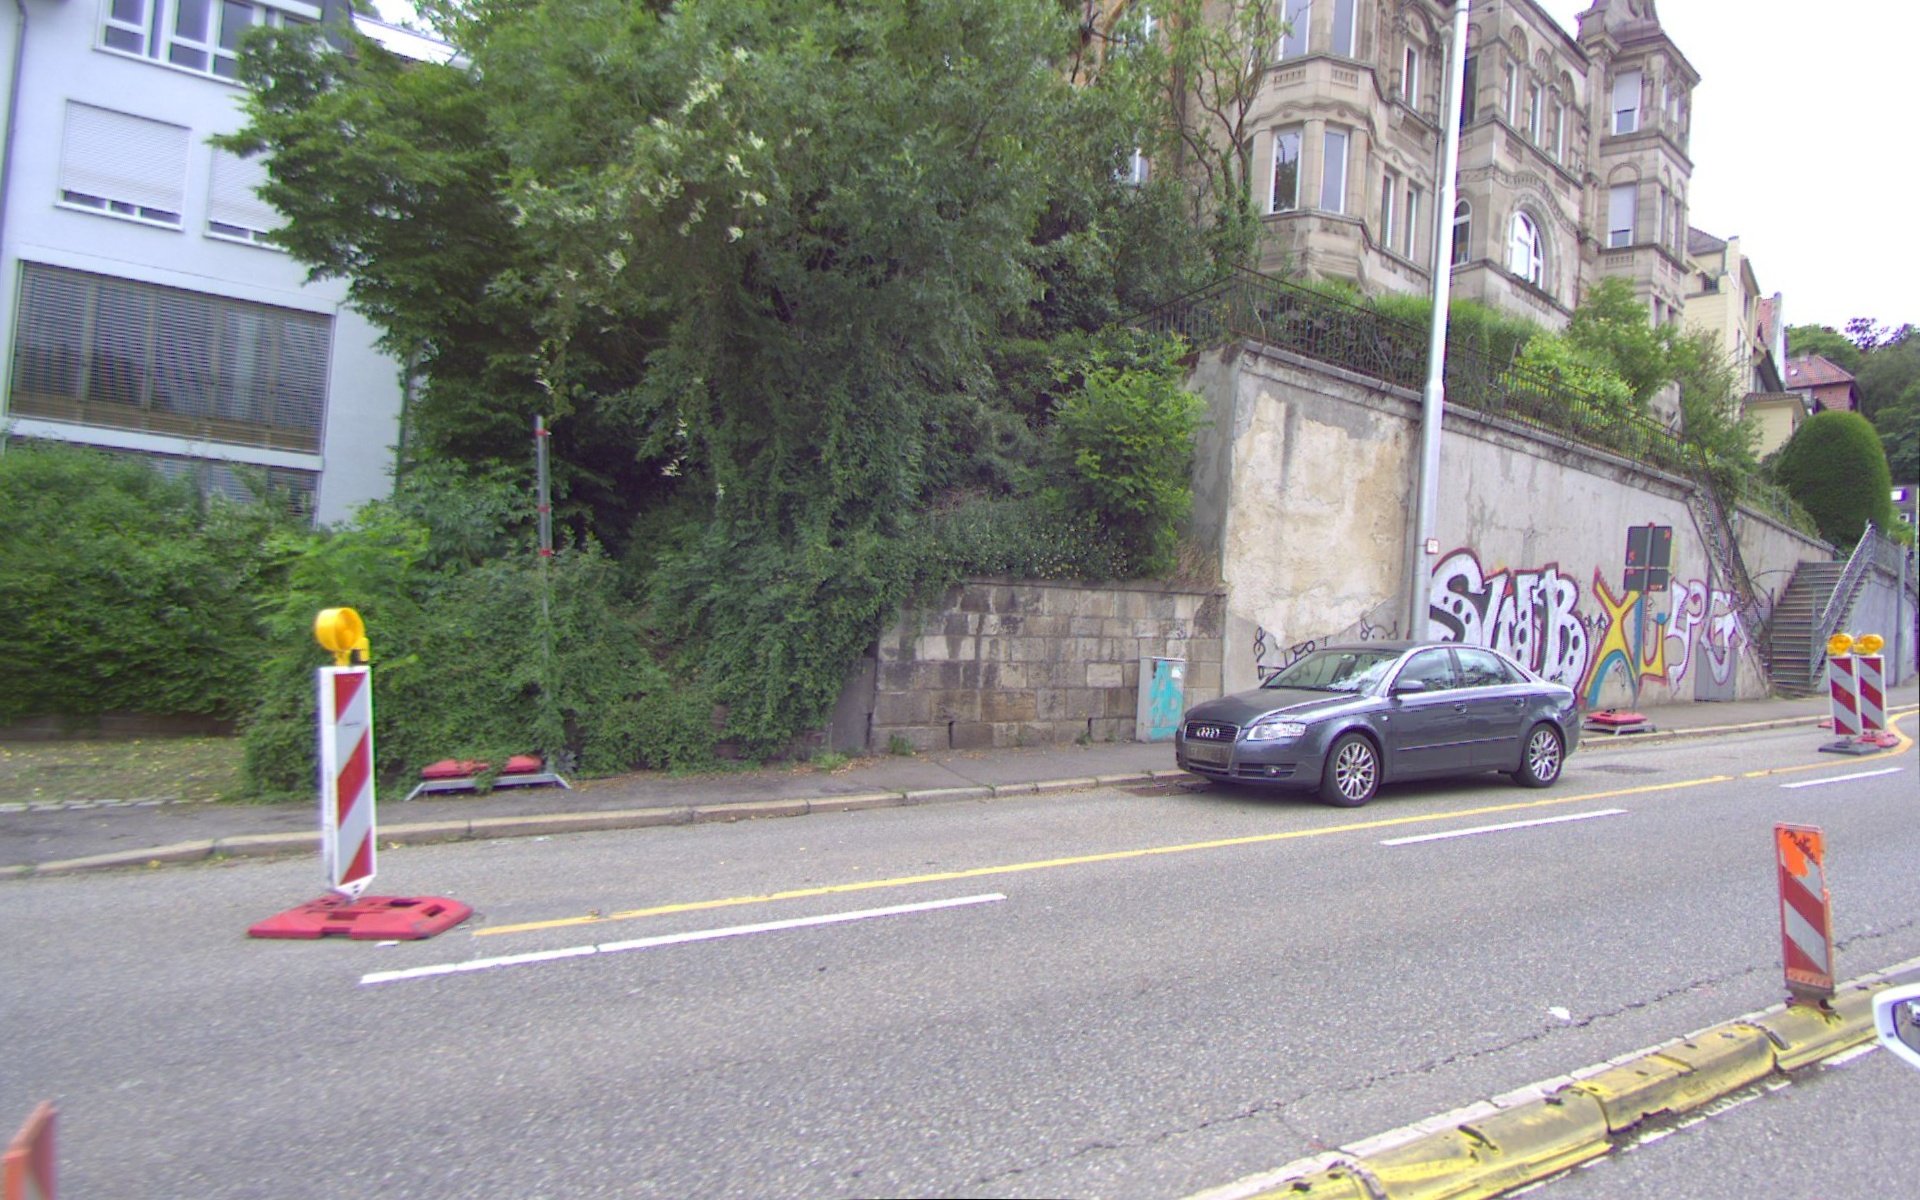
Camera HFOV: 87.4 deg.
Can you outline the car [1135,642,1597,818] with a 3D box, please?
[{"bbox_3d":[3.984,1.112,9.755,4.332,1.391,1.793,1,-3,-28],"label":"car"}]
